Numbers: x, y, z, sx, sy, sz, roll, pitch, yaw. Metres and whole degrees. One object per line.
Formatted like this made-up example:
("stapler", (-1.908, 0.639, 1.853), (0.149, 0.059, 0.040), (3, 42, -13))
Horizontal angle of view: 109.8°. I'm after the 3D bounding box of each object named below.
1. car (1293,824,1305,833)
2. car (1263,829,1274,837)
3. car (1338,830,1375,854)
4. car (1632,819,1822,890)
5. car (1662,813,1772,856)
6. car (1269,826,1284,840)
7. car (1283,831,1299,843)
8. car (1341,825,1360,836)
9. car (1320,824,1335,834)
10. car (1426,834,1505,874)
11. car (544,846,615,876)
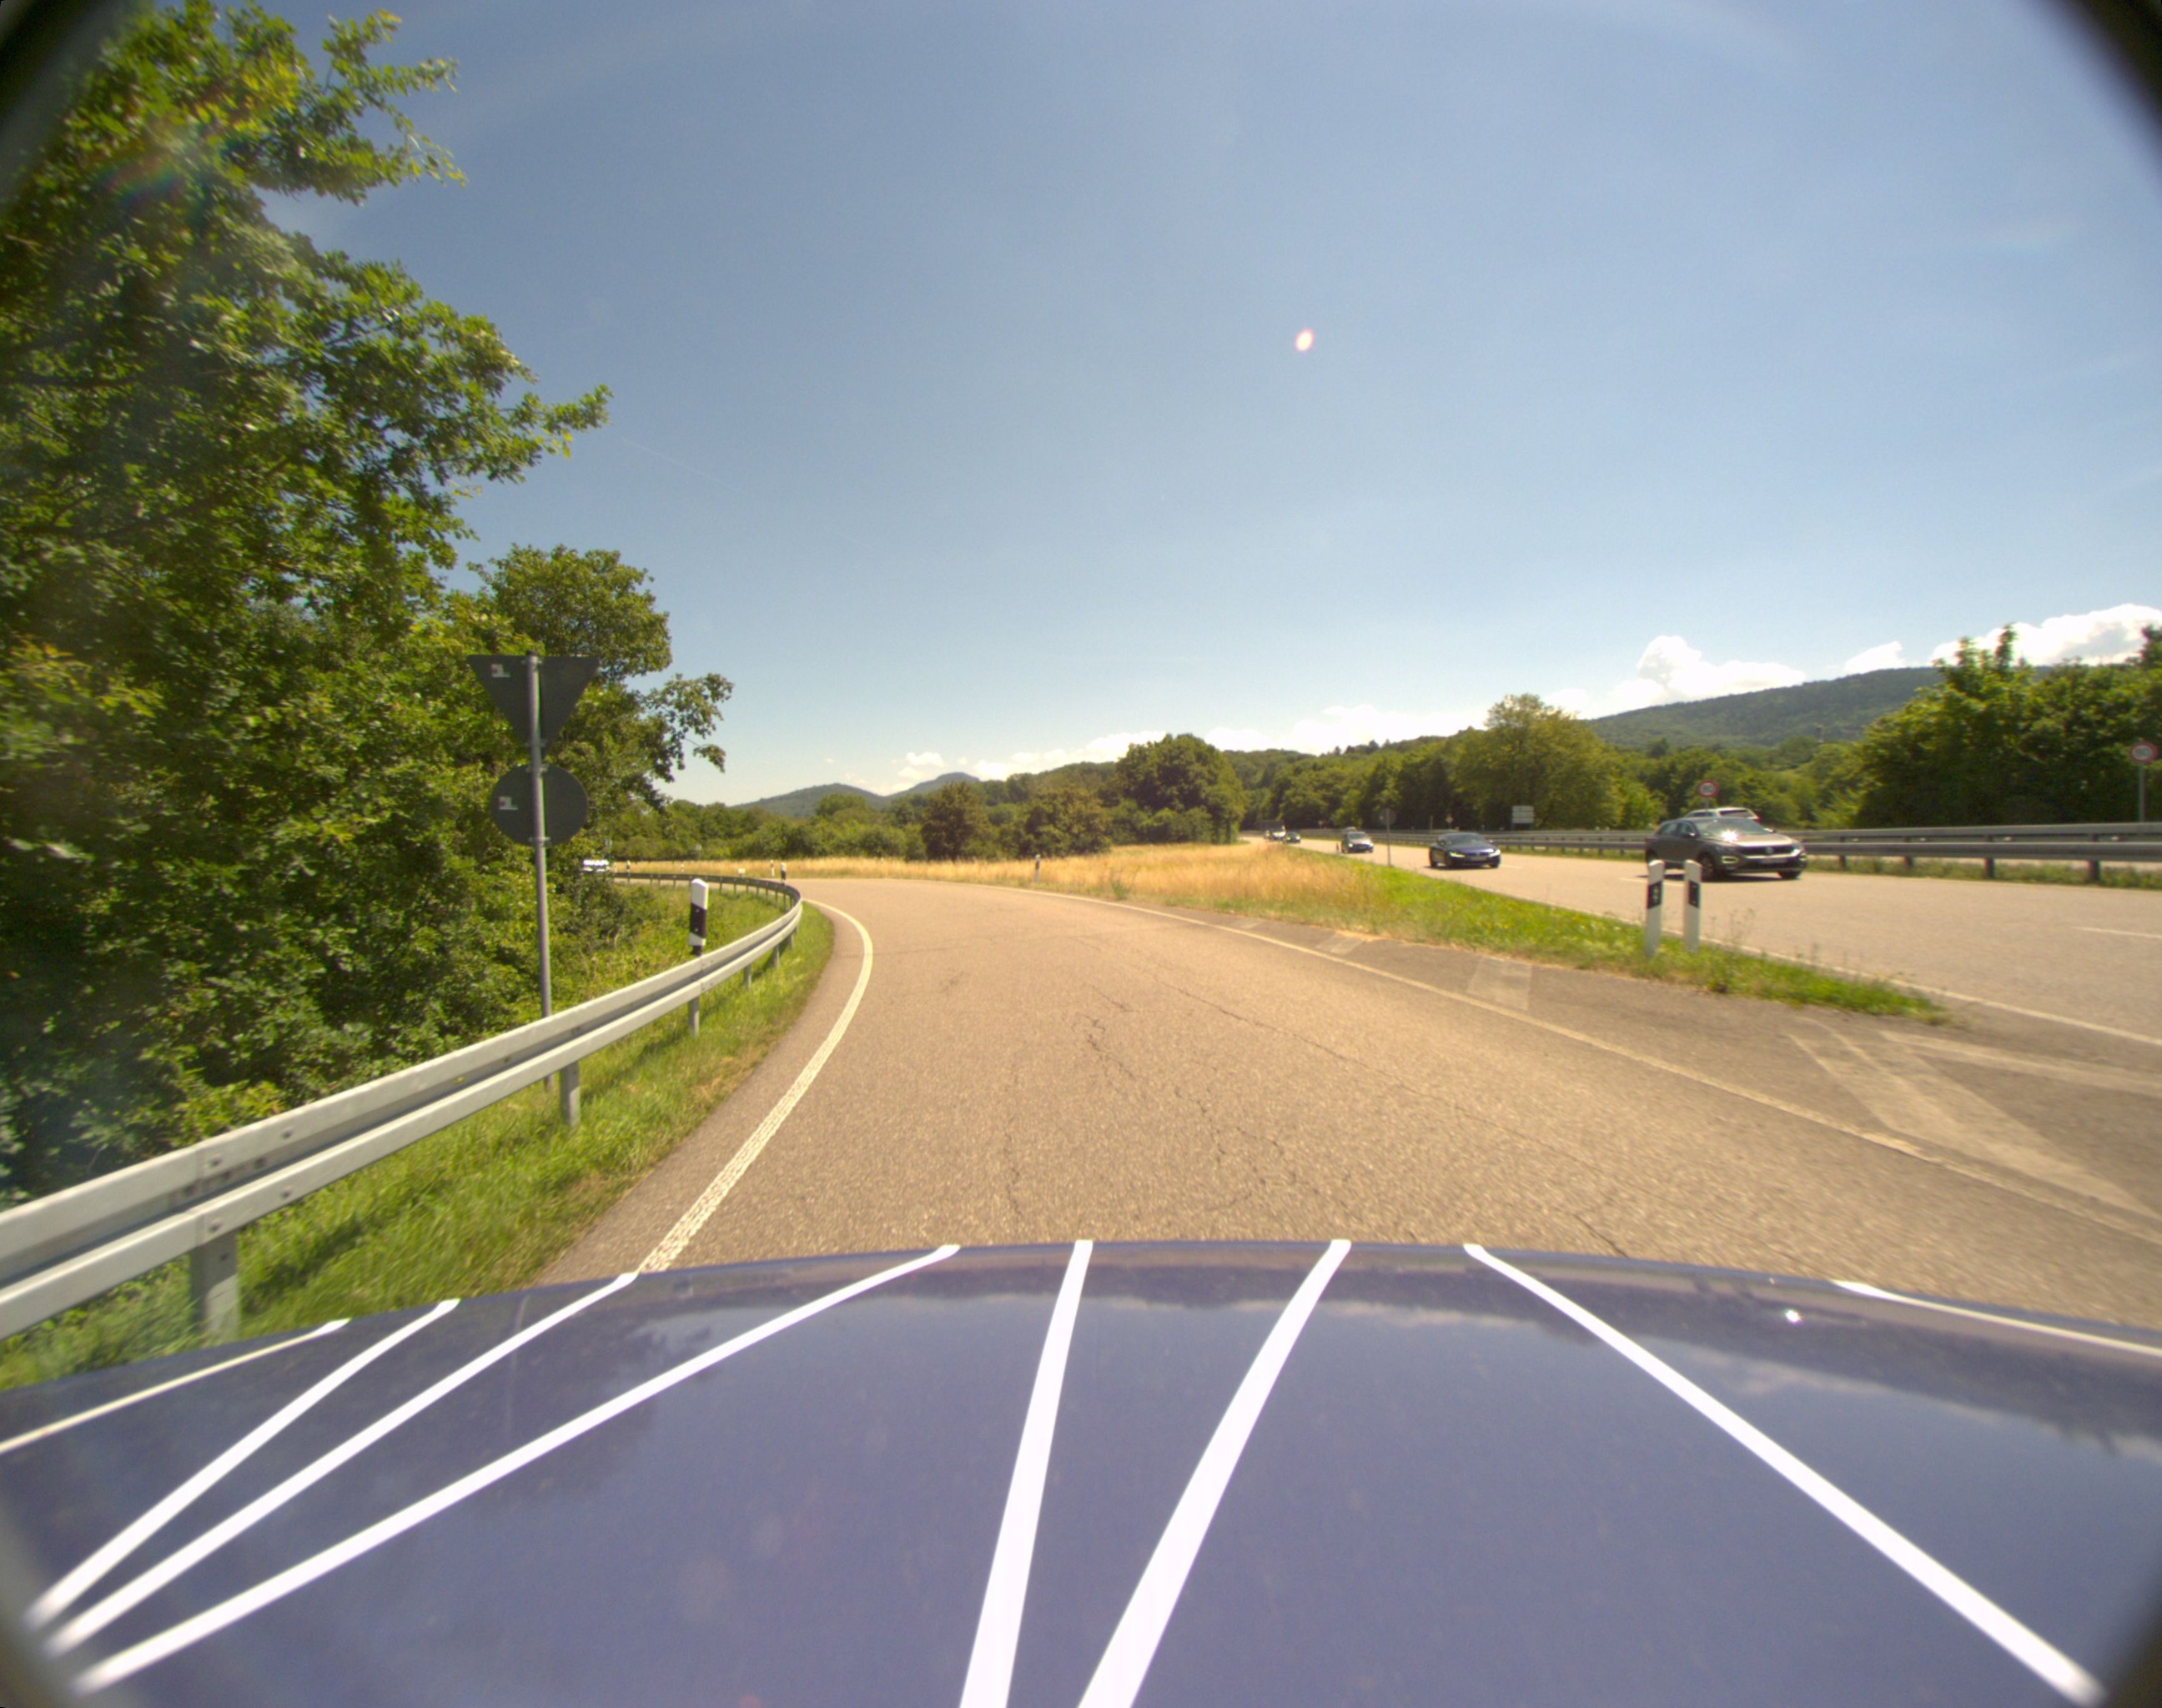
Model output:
("car", (51.385, -5.995, 179.189), (1.997, 1.882, 4.913), (-2, 2, 9))
("car", (34.980, -3.930, 141.903), (1.670, 1.276, 4.001), (-2, 2, 9))
("car", (20.529, -0.903, 56.826), (1.796, 1.658, 4.557), (-2, 1, 10))
("car", (16.028, -0.018, 19.200), (1.844, 1.521, 4.474), (-3, 0, 14))
("car", (30.559, -0.983, 36.705), (1.997, 1.882, 4.915), (-2, 2, 12))
("car", (30.462, -3.315, 118.464), (2.006, 1.988, 4.582), (-2, 2, 14))
("car", (27.116, -2.186, 98.311), (1.844, 1.400, 4.473), (-2, 1, 14))
("car", (44.227, -3.831, 124.843), (1.934, 1.741, 4.913), (-2, 2, 8))
("car", (50.465, -5.169, 155.640), (1.997, 1.882, 4.913), (-2, 2, 9))
("car", (15.348, -0.036, 30.592), (1.844, 1.399, 4.474), (-3, 0, 14))
("car", (-34.891, 0.465, 52.851), (4.433, 2.002, 2.003), (0, 0, 23))
